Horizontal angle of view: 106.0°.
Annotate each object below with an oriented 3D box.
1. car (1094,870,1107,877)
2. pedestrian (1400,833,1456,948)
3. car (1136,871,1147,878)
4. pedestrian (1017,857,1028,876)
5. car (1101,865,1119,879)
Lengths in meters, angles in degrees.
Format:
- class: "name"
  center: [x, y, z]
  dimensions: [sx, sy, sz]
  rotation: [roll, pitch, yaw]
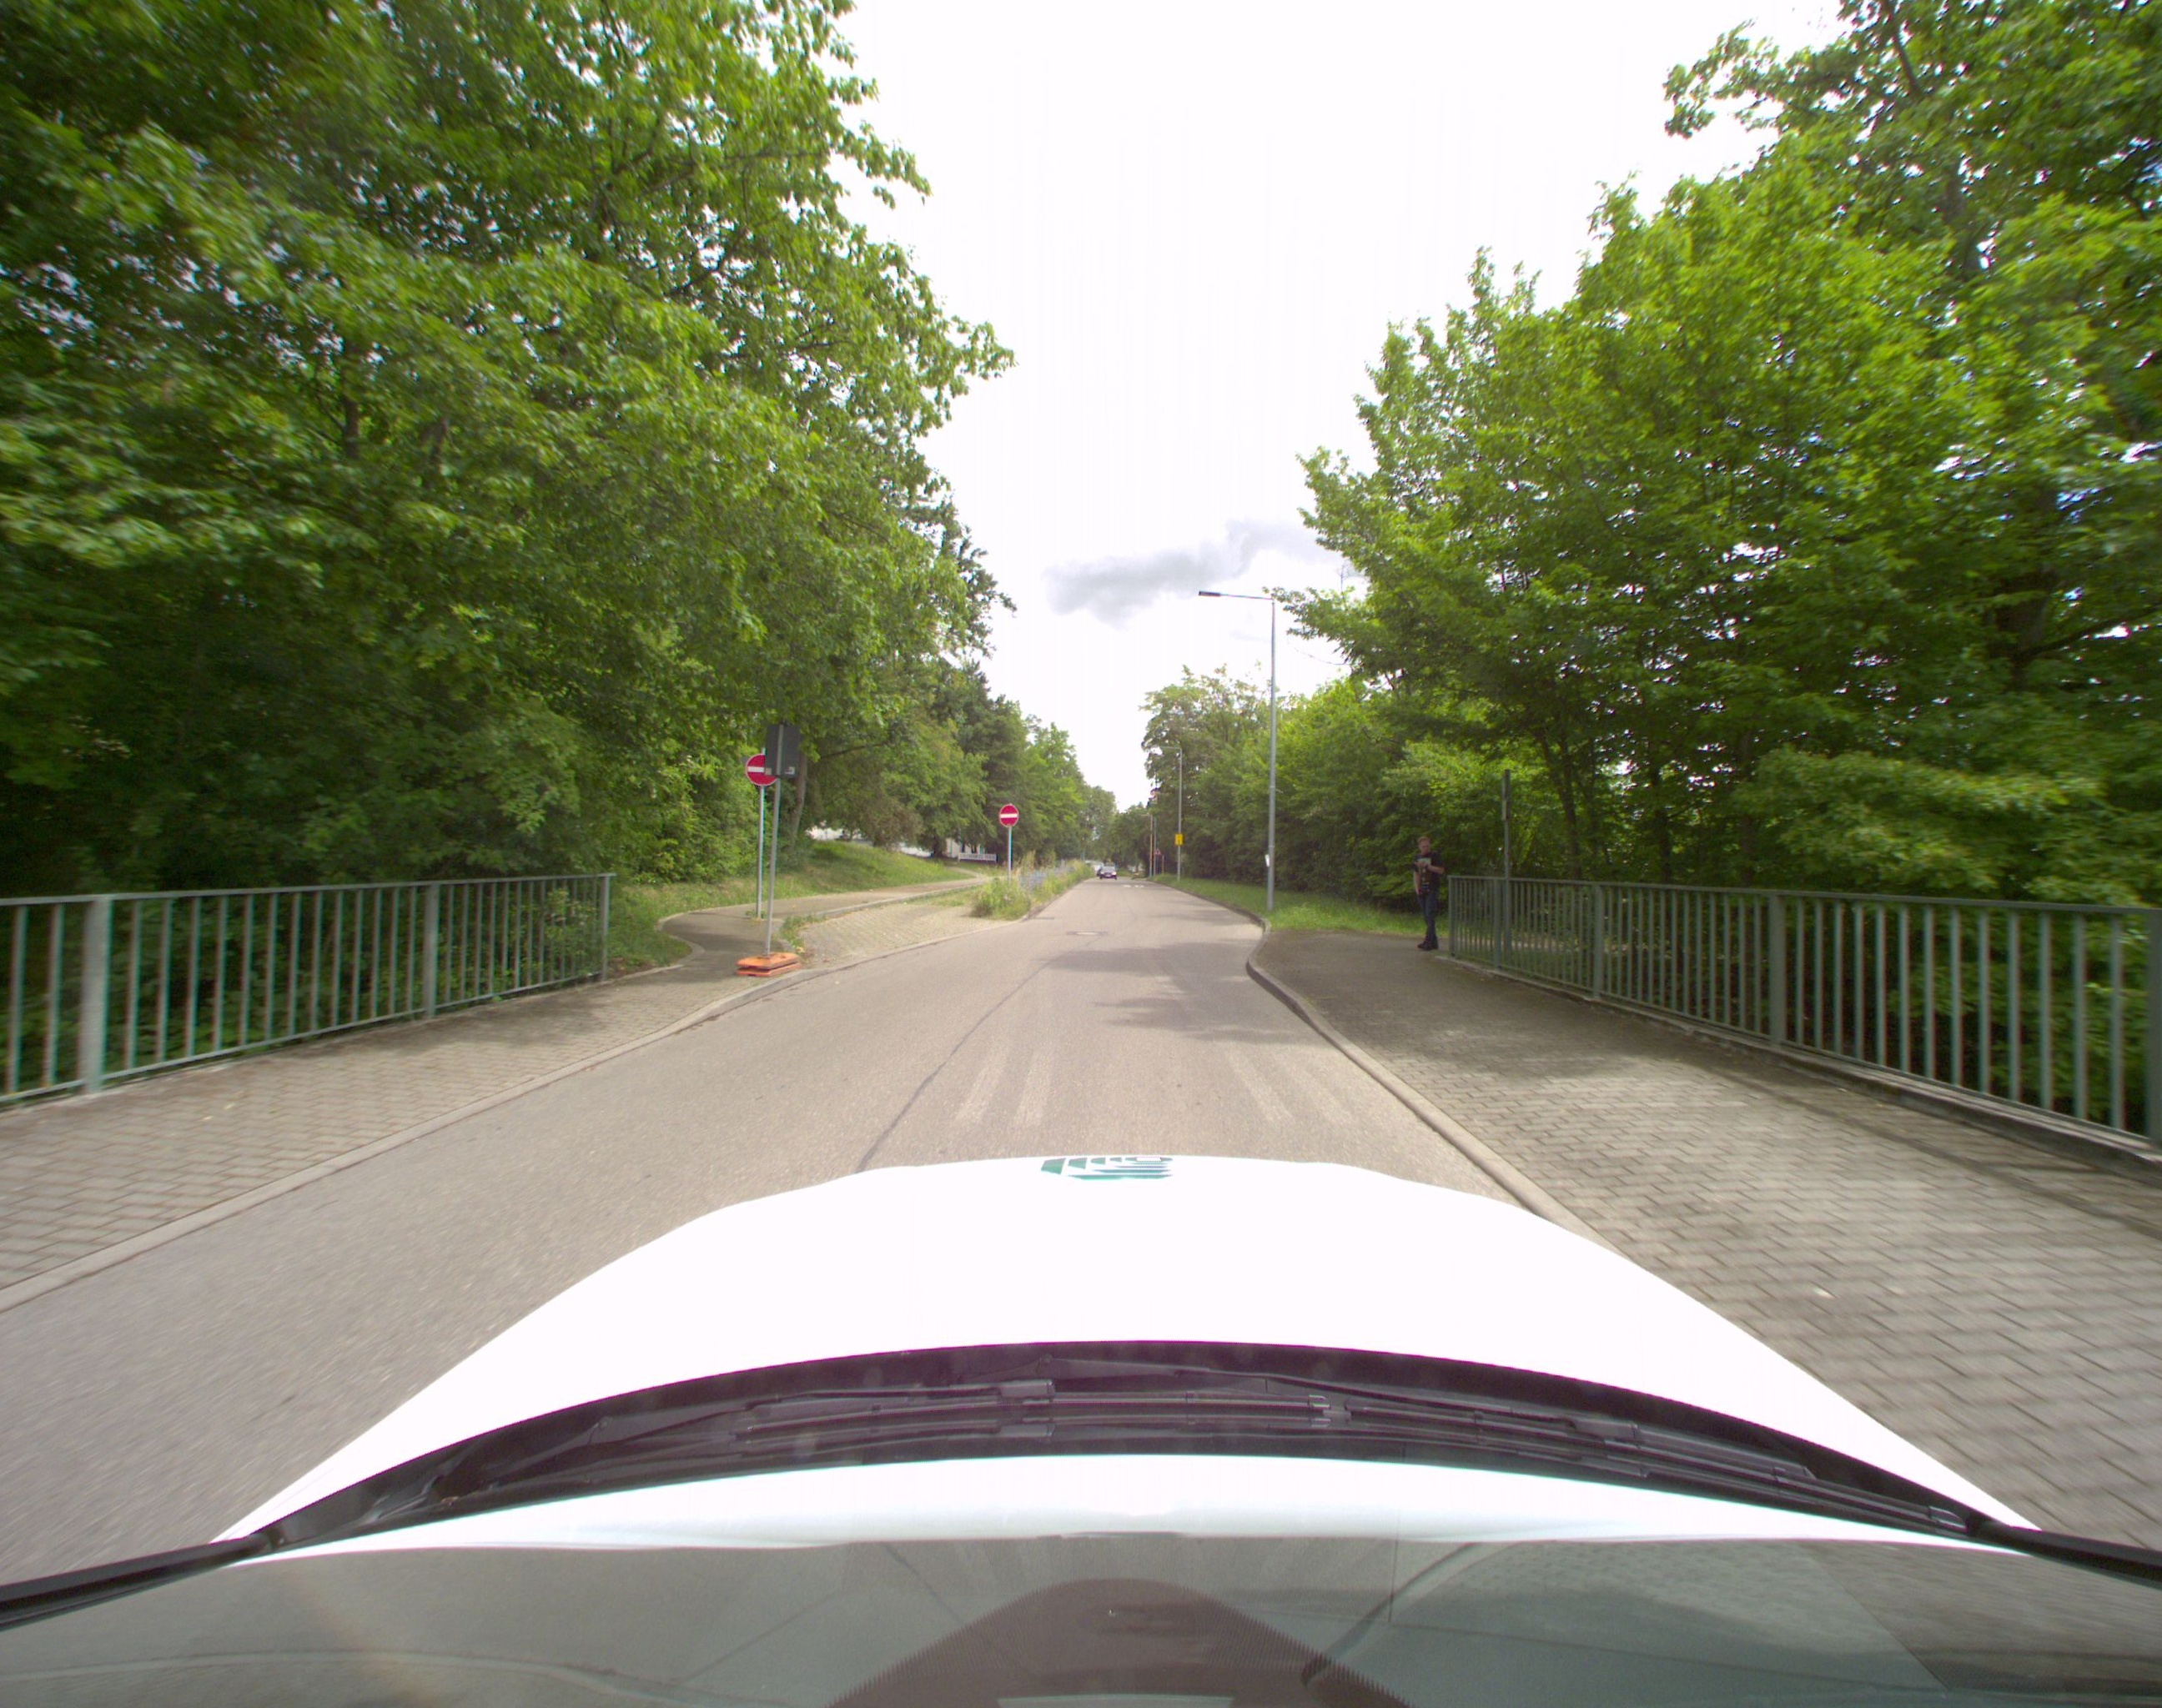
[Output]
- class: "car"
  center: [3.766, 3.823, 159.236]
  dimensions: [1.967, 1.384, 4.010]
  rotation: [2, -1, 10]
- class: "pedestrian"
  center: [5.510, 0.573, 12.972]
  dimensions: [0.585, 1.783, 0.682]
  rotation: [0, -1, -2]
- class: "car"
  center: [14.570, 5.007, 196.274]
  dimensions: [1.845, 1.492, 4.016]
  rotation: [-2, -4, 16]
- class: "pedestrian"
  center: [-6.372, 1.353, 88.327]
  dimensions: [0.872, 2.014, 0.867]
  rotation: [3, -6, -43]
- class: "car"
  center: [2.930, 1.768, 81.557]
  dimensions: [1.685, 1.349, 4.099]
  rotation: [1, -1, 4]
